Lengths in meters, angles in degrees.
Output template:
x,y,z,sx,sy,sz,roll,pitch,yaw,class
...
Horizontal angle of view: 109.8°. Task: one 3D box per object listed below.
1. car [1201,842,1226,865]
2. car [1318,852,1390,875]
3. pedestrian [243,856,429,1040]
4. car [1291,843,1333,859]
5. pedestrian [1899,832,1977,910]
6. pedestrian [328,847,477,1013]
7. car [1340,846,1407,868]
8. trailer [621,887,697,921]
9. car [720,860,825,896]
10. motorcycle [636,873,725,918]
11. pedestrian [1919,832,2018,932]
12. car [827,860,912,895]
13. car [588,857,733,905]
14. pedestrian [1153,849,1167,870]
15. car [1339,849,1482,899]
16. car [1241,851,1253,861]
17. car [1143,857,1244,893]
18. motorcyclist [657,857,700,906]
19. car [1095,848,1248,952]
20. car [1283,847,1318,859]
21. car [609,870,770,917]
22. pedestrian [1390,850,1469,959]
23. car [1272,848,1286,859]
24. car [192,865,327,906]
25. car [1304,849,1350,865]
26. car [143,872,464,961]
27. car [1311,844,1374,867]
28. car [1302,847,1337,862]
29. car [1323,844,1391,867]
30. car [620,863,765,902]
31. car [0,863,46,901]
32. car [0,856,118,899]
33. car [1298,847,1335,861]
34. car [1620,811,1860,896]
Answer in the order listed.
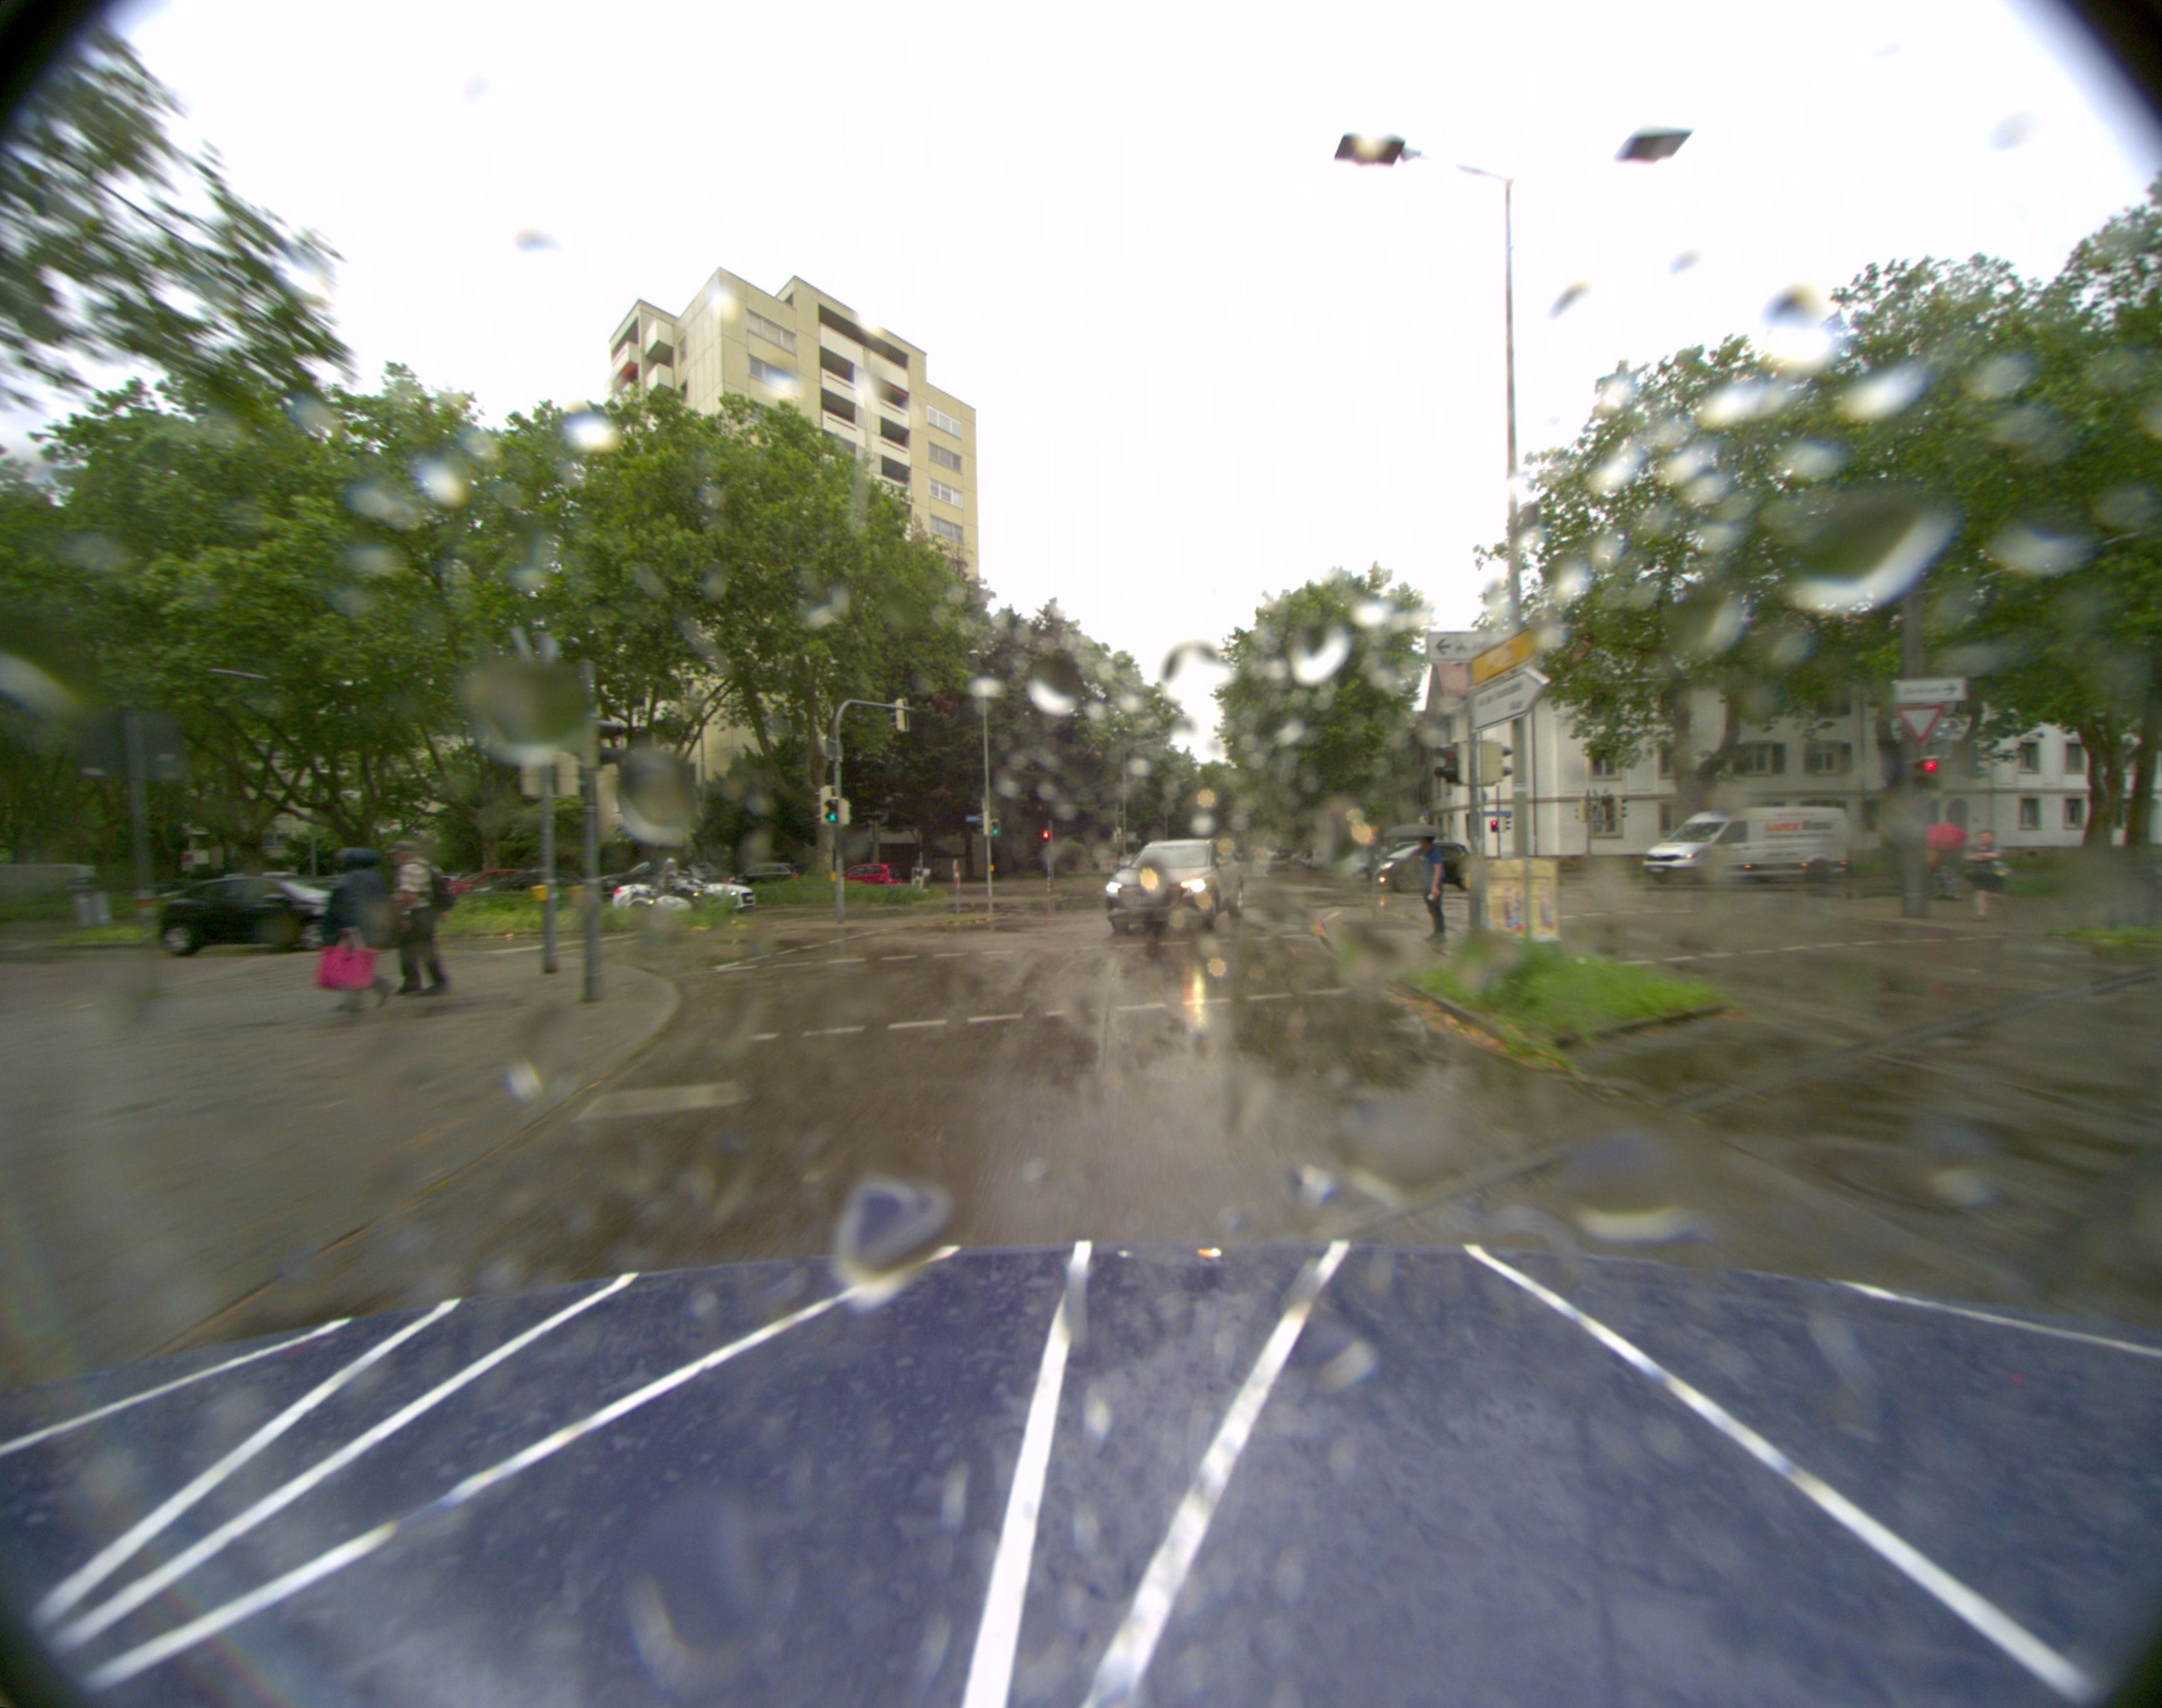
x,y,z,sx,sy,sz,roll,pitch,yaw,class
14.819,-0.055,84.858,2.398,2.461,5.698,0,0,14,car
19.962,0.680,55.658,4.733,1.613,1.932,0,0,11,car
-7.449,0.866,7.627,1.053,1.676,0.998,0,0,25,pedestrian
29.946,-0.328,98.577,5.081,2.012,2.035,0,0,13,car
19.034,0.374,16.893,0.861,1.678,0.848,-1,0,-15,pedestrian
-7.657,0.816,8.604,0.992,1.771,0.813,0,0,14,pedestrian
20.210,0.207,52.673,3.994,1.346,1.798,-2,0,9,car
-11.500,1.361,20.744,1.481,0.837,1.028,-2,0,7,trailer
-15.221,1.174,37.587,4.448,1.598,1.942,-2,0,11,car
-11.430,1.170,21.712,2.072,1.207,0.882,-2,0,6,motorcycle
15.472,0.471,13.263,0.849,1.678,0.859,-1,0,-16,pedestrian
-10.225,1.123,36.821,3.456,1.516,1.843,-2,0,9,car
-16.540,1.014,30.117,1.870,1.654,4.612,-2,0,36,car
6.447,0.457,62.141,0.942,1.650,0.930,0,0,17,pedestrian
10.385,0.600,23.972,4.004,1.435,1.851,-1,0,-21,car
30.729,0.344,140.716,1.997,1.795,4.353,-2,0,9,car
4.723,0.884,32.373,3.997,1.359,2.000,-2,0,0,car
-11.500,0.771,21.739,0.754,1.343,0.758,-2,0,6,motorcyclist
1.890,0.746,14.497,1.806,1.612,4.143,-1,1,23,car
30.831,-0.148,106.704,4.663,1.595,2.035,0,0,13,car
-12.476,1.248,24.397,4.168,1.268,1.903,-2,0,2,car
5.186,0.732,11.338,0.863,1.572,0.642,-1,0,-4,pedestrian
36.551,-0.105,140.088,1.997,1.795,4.003,-2,0,8,car
-38.124,1.426,35.336,1.994,1.645,4.008,-2,0,36,car
26.335,0.323,81.413,4.521,1.561,2.035,0,0,13,car
-14.625,1.136,14.481,4.173,1.452,1.995,-1,0,3,car
21.220,0.133,61.878,4.663,1.863,2.035,0,0,13,car
28.111,0.046,89.636,3.716,1.680,1.940,0,0,13,car
20.962,0.097,57.939,4.663,1.680,2.035,0,0,13,car
-17.561,1.279,34.489,5.524,1.509,2.259,-2,0,9,car
-79.790,2.093,54.605,5.981,2.634,1.995,-2,0,-31,car
-62.508,1.388,45.436,5.614,2.387,2.229,-2,0,-29,car
28.484,0.021,92.010,4.104,1.680,1.830,0,0,13,car
22.268,-0.030,25.811,6.510,2.547,2.283,-2,0,-6,car
